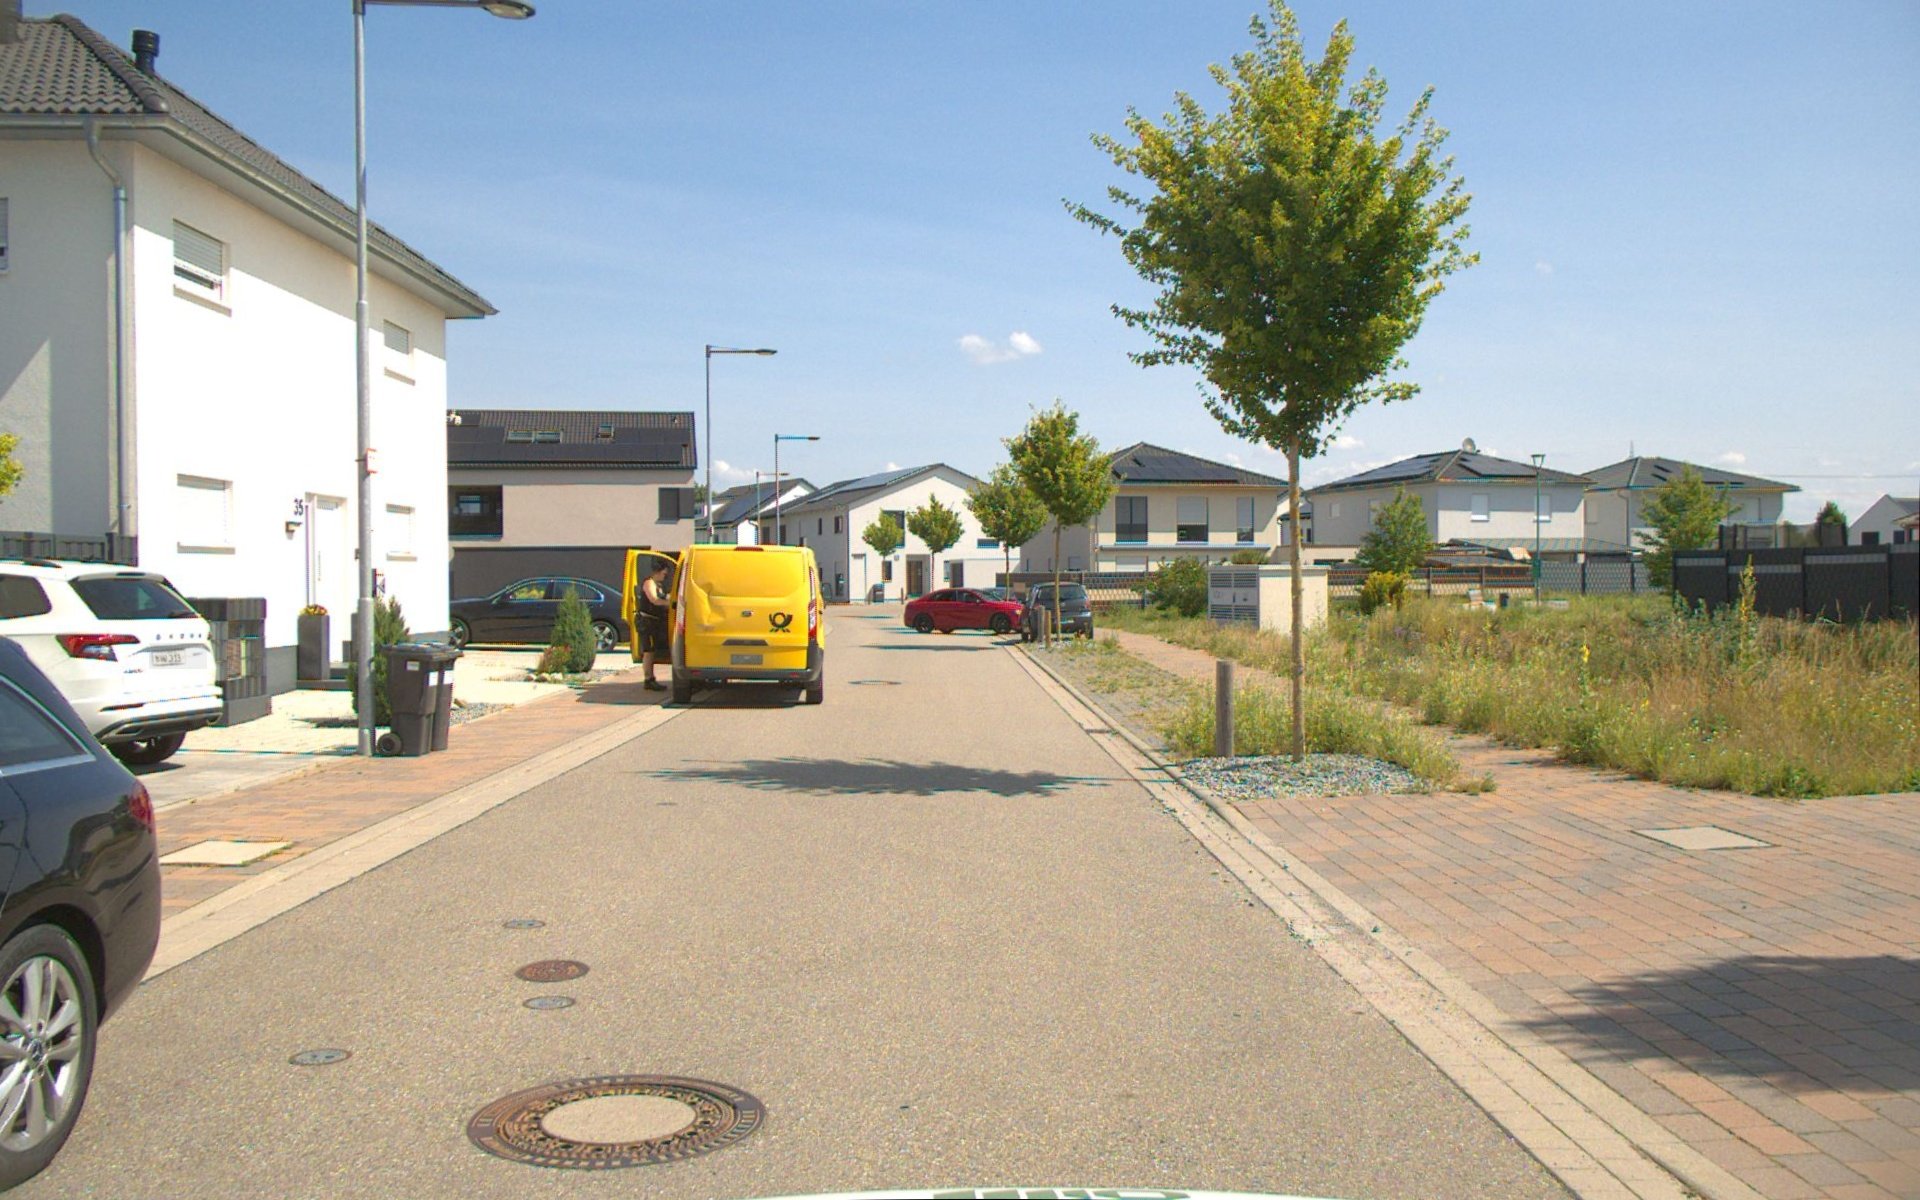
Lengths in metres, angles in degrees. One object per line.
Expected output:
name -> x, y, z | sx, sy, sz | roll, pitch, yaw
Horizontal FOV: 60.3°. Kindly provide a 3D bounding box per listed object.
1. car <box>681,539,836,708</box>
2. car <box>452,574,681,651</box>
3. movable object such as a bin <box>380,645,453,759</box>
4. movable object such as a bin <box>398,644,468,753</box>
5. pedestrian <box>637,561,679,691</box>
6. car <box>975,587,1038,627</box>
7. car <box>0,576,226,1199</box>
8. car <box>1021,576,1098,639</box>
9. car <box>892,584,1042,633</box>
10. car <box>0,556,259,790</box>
car -> -2.702, 0.280, 22.785 | 1.847, 2.049, 4.836 | 1, 0, -5
car -> -7.829, 0.241, 33.050 | 4.319, 1.477, 1.742 | 0, 0, -15
movable object such as a bin -> -4.698, 0.876, 14.316 | 0.476, 0.942, 0.530 | 0, 0, -4
movable object such as a bin -> -4.727, 0.874, 14.854 | 0.476, 0.942, 0.530 | 0, 0, -4
pedestrian -> -4.170, 0.351, 22.864 | 0.521, 1.768, 0.569 | 1, 1, -8
car -> 1.685, 0.243, 61.493 | 1.721, 1.387, 4.569 | 1, 1, -7
car -> -3.032, 0.691, 2.733 | 1.656, 1.498, 4.444 | 2, 0, -1
car -> 2.520, 0.163, 42.590 | 1.566, 1.500, 3.673 | -2, 1, -3
car -> 0.223, 0.240, 52.054 | 4.418, 1.463, 1.766 | 1, 0, 27
car -> -7.696, 0.517, 12.658 | 3.872, 1.647, 1.795 | 0, 0, 4
